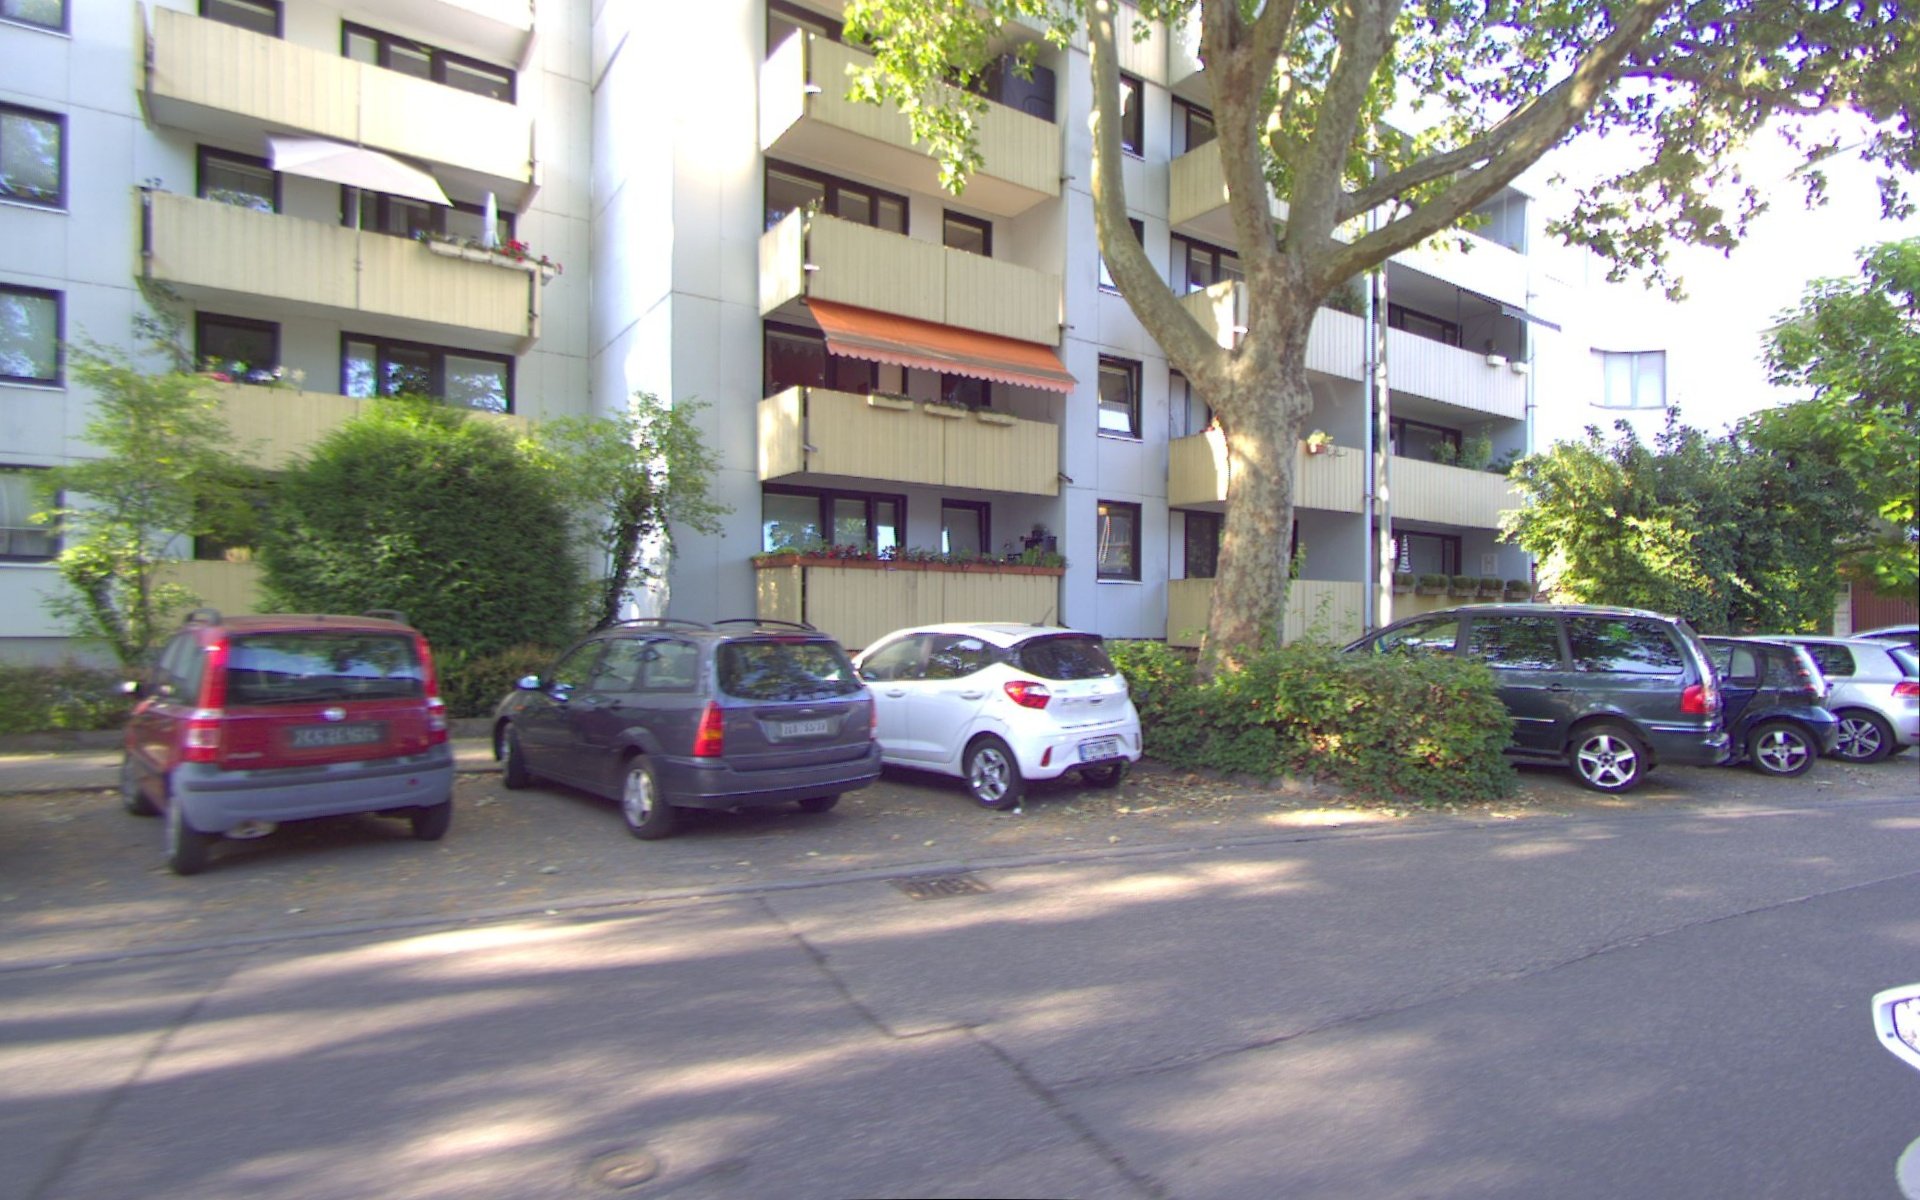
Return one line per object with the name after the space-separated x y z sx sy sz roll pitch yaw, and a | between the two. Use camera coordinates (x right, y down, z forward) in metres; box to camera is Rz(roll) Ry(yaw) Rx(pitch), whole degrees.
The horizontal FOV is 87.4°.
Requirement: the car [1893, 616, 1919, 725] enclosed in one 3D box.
16.843 1.130 15.117 3.895 1.684 1.694 1 0 36 | car

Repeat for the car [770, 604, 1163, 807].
-0.068 0.821 9.650 1.765 1.514 3.613 0 1 -44 | car

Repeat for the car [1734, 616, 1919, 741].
13.699 1.116 14.380 4.077 1.662 1.769 1 0 40 | car

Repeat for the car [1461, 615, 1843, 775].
8.242 1.015 12.194 3.593 1.581 1.693 1 0 38 | car

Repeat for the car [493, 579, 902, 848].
-2.275 0.711 8.155 1.639 1.683 3.602 2 0 -44 | car

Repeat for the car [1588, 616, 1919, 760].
10.676 1.050 13.340 1.685 1.581 3.611 1 0 -37 | car

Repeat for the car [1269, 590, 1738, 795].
5.795 0.824 10.994 4.206 1.799 1.897 1 0 41 | car

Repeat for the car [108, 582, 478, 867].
-5.076 0.688 7.447 1.639 1.581 3.602 2 0 -44 | car
